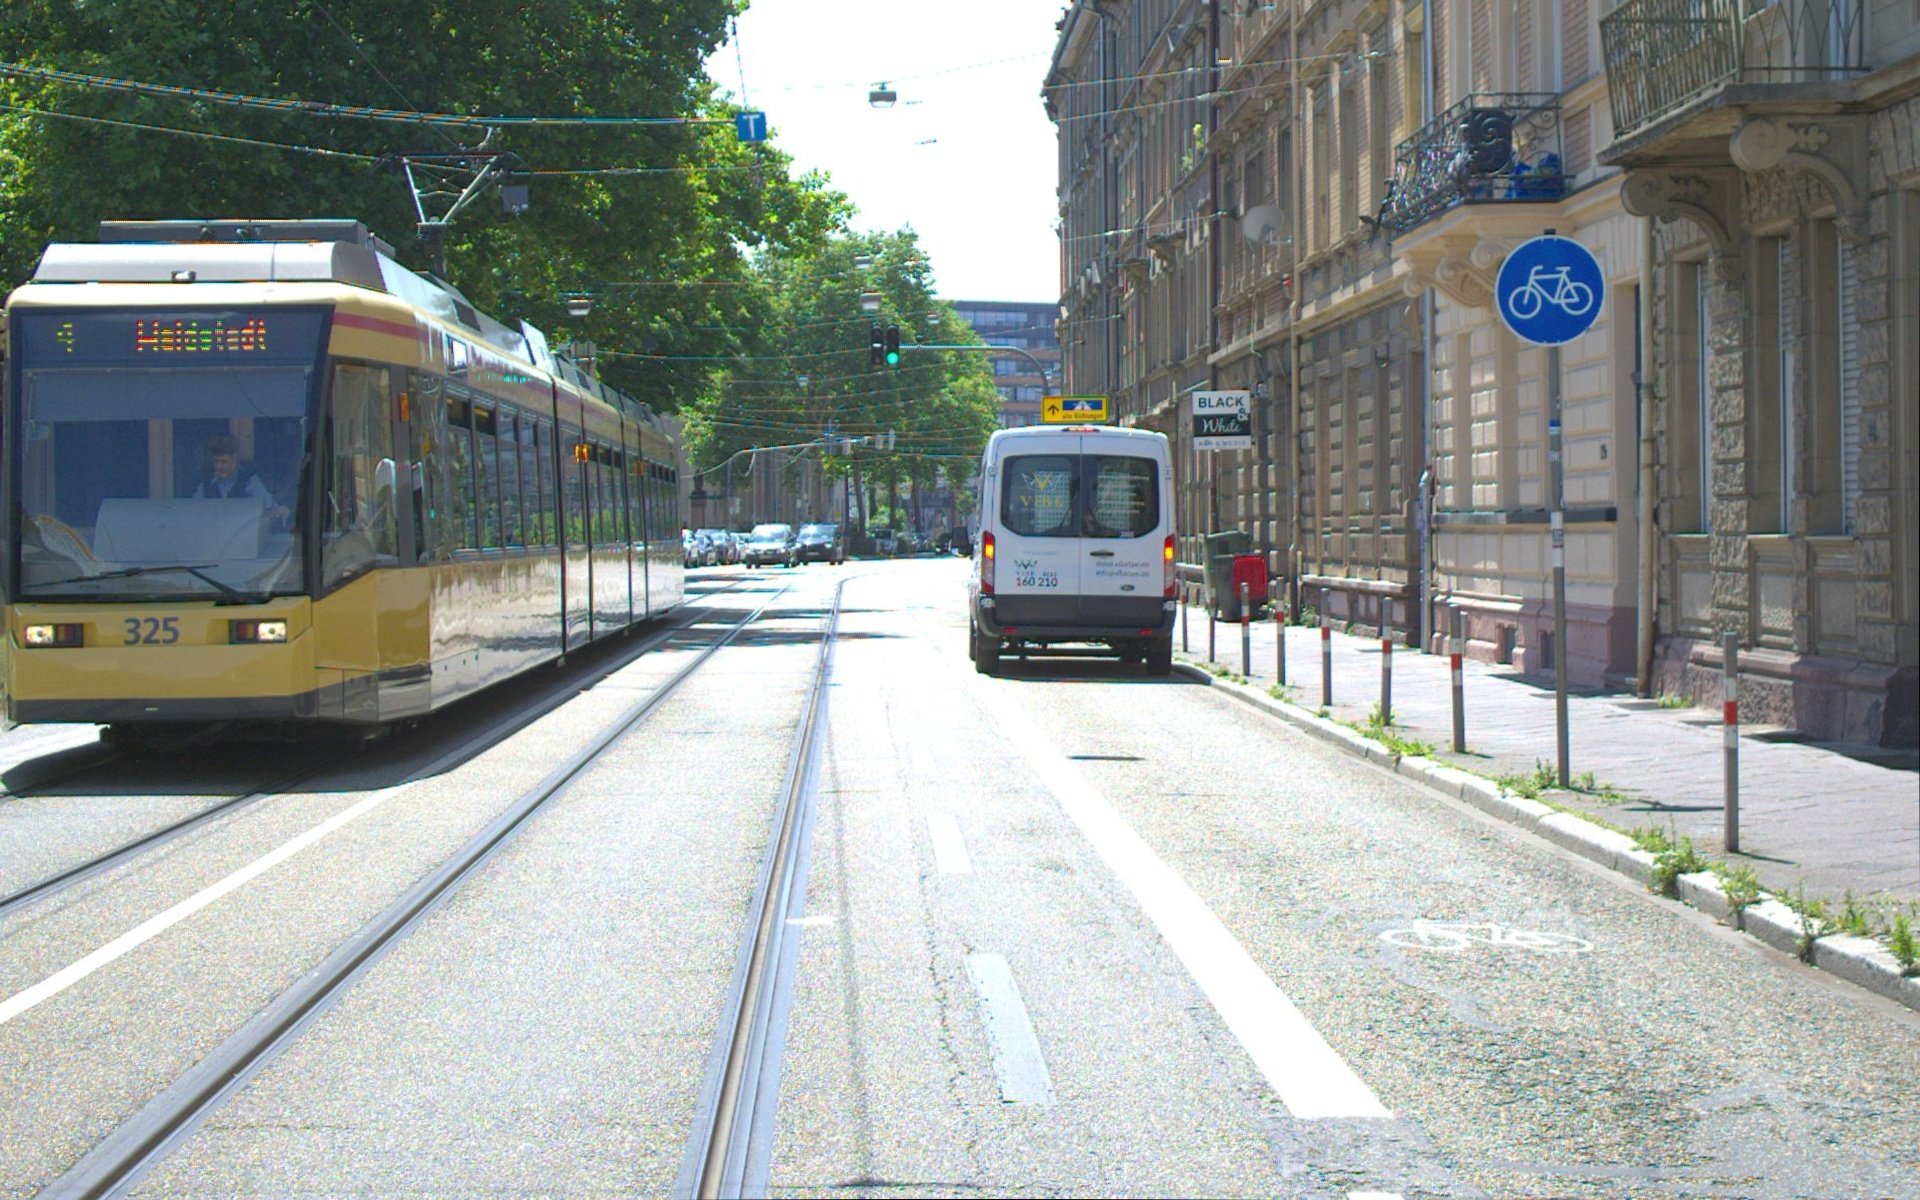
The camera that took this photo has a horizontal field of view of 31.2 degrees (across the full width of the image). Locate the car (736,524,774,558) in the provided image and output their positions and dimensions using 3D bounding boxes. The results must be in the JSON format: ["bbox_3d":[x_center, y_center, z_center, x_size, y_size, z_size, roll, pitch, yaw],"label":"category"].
[{"bbox_3d":[-8.400,-2.426,140.809,1.528,1.404,3.490,0,1,-4],"label":"car"}]

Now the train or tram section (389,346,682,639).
[{"bbox_3d":[-5.737,-1.482,48.846,2.960,3.568,13.425,-1,1,-2],"label":"train or tram section"}]

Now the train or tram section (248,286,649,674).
[{"bbox_3d":[-5.346,-1.275,38.606,2.960,3.568,13.425,-1,1,-2],"label":"train or tram section"}]

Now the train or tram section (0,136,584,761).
[{"bbox_3d":[-4.883,-1.031,26.436,2.960,3.568,13.425,-1,1,-2],"label":"train or tram section"}]

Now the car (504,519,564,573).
[{"bbox_3d":[-12.001,-1.545,96.967,1.454,1.491,3.663,0,1,-4],"label":"car"}]

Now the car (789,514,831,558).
[{"bbox_3d":[-6.491,-2.769,148.276,1.673,1.853,4.001,0,1,-4],"label":"car"}]

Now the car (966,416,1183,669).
[{"bbox_3d":[1.141,-0.634,36.837,2.067,2.492,5.454,0,1,-1],"label":"car"}]
